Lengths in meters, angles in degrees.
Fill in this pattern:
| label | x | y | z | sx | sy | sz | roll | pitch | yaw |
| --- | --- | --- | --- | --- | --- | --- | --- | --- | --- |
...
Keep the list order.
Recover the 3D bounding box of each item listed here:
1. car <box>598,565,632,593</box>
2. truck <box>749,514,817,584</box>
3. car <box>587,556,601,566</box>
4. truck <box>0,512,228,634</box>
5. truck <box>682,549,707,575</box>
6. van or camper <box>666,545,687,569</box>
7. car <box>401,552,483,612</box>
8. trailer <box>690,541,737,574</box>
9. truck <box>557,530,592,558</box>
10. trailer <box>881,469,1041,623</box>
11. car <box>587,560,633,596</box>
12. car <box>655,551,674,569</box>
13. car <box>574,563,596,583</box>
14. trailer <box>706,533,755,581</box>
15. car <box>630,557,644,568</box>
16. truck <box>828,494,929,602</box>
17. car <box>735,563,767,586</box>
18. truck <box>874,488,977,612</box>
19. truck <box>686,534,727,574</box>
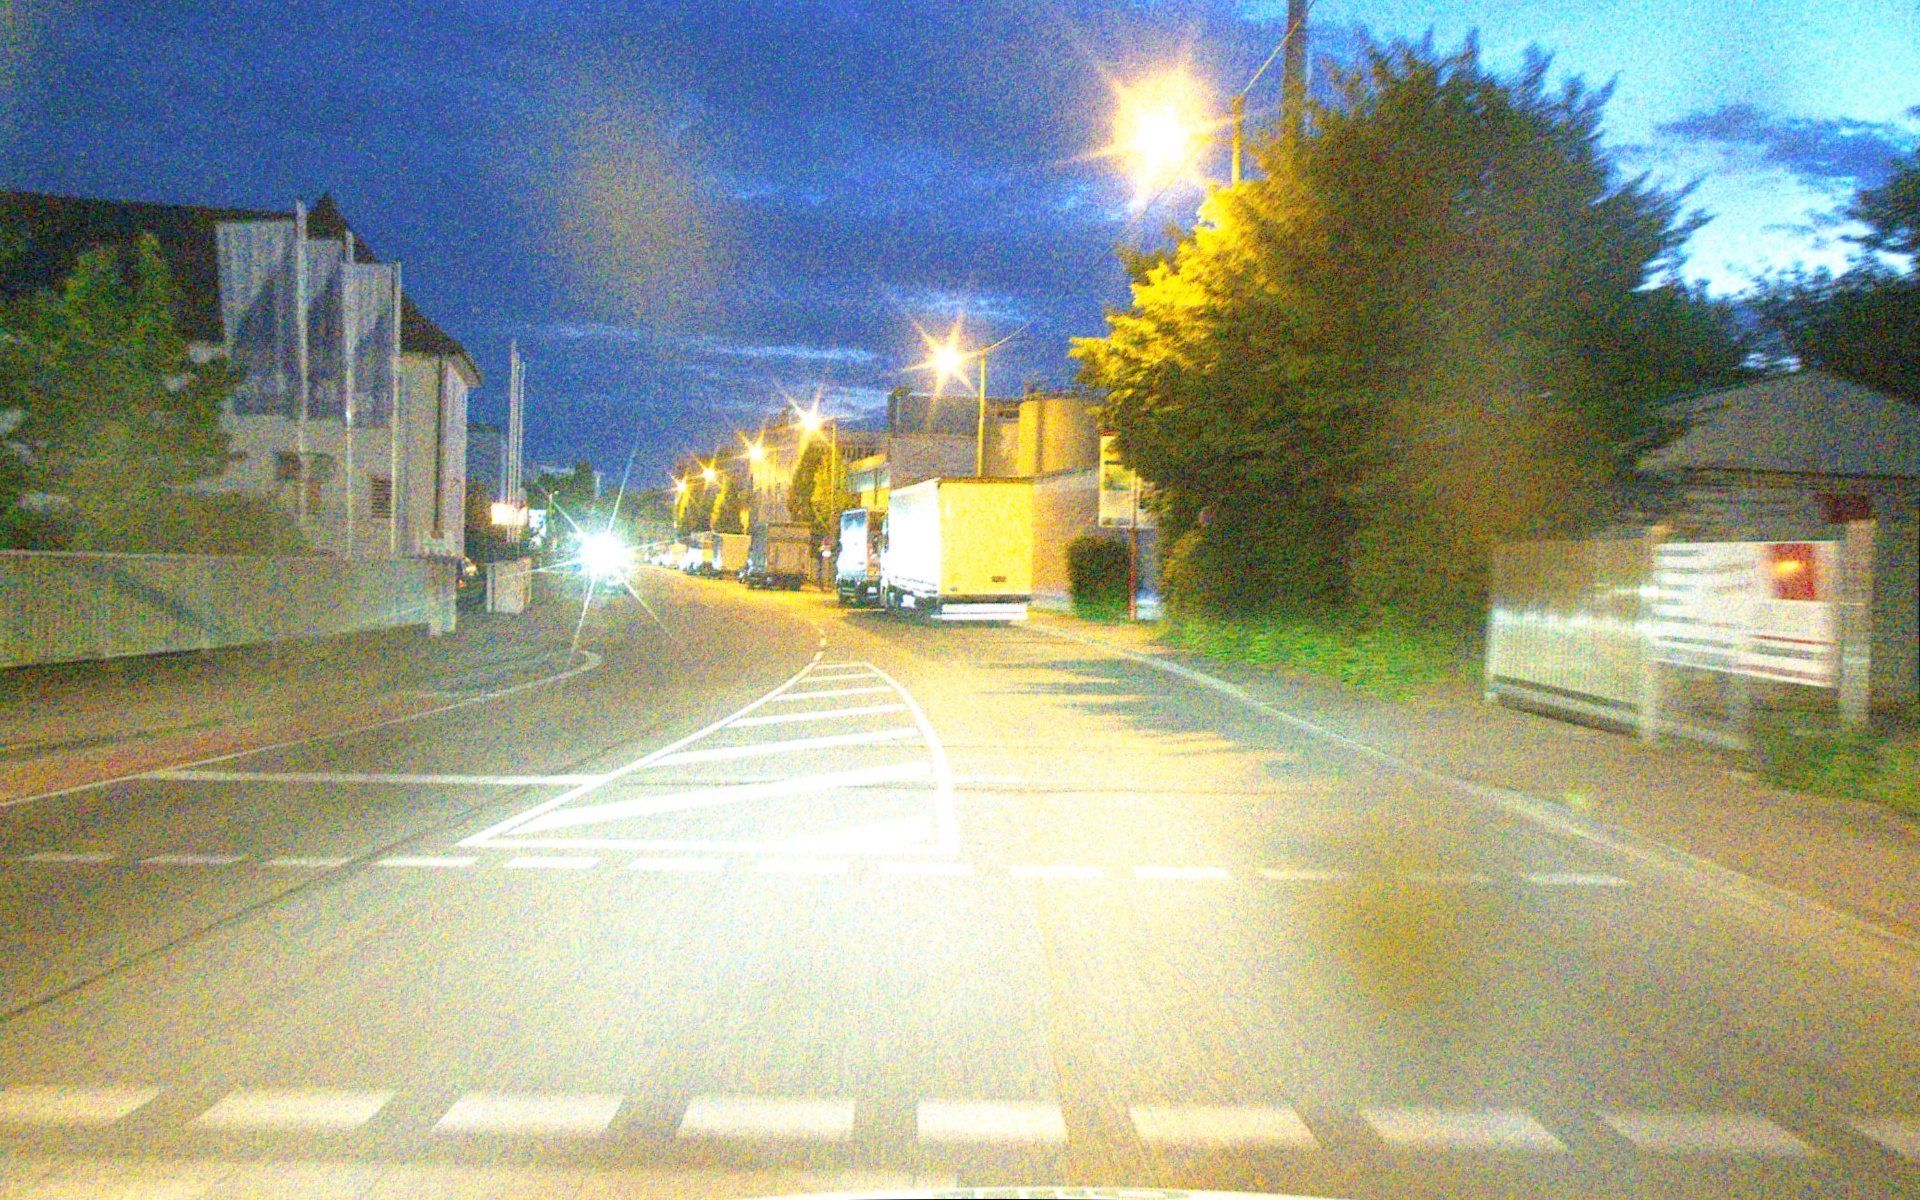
| label | x | y | z | sx | sy | sz | roll | pitch | yaw |
| --- | --- | --- | --- | --- | --- | --- | --- | --- | --- |
| car | -17.979 | -1.099 | 86.038 | 1.575 | 1.377 | 3.986 | 1 | 1 | -14 |
| truck | -10.848 | -3.031 | 100.499 | 3.456 | 4.052 | 10.320 | 0 | 1 | -10 |
| car | -54.551 | -5.810 | 246.620 | 1.959 | 1.422 | 3.987 | 1 | 1 | -13 |
| truck | -15.170 | -0.476 | 29.511 | 1.953 | 1.933 | 5.315 | 2 | 1 | -2 |
| truck | -26.095 | -3.739 | 162.571 | 1.959 | 2.449 | 5.275 | 1 | 1 | -13 |
| van or camper | -31.470 | -4.803 | 183.539 | 1.959 | 2.626 | 4.899 | 1 | 1 | -13 |
| car | -14.396 | -0.535 | 45.857 | 1.802 | 1.520 | 4.498 | 1 | 1 | -22 |
| trailer | -21.511 | -3.645 | 143.879 | 3.130 | 2.796 | 10.679 | 0 | 1 | -13 |
| truck | -53.446 | -7.738 | 229.236 | 3.831 | 3.684 | 8.217 | 1 | 1 | -19 |
| trailer | -0.288 | -1.566 | 50.748 | 2.757 | 4.052 | 13.946 | 0 | 1 | -9 |
| car | -17.057 | -1.095 | 80.459 | 1.960 | 1.665 | 4.756 | 1 | 1 | -15 |
| car | -36.328 | -4.920 | 203.283 | 1.959 | 2.183 | 3.987 | 1 | 1 | -13 |
| car | -35.143 | -2.532 | 154.779 | 1.959 | 1.825 | 3.987 | 1 | 1 | -13 |
| trailer | -17.788 | -3.281 | 128.036 | 2.643 | 3.524 | 7.776 | 1 | 1 | -16 |
| car | -49.197 | -5.732 | 251.795 | 1.959 | 1.713 | 3.987 | 1 | 1 | -13 |
| truck | -3.467 | -2.060 | 67.737 | 2.779 | 4.052 | 10.316 | 0 | 1 | -11 |
| car | -14.601 | -1.784 | 115.527 | 1.821 | 1.545 | 3.806 | 0 | 1 | -13 |
| truck | -1.272 | -1.700 | 57.200 | 2.778 | 4.052 | 6.038 | 0 | 1 | -9 |
| truck | -23.155 | -4.151 | 150.797 | 3.097 | 3.523 | 6.650 | 0 | 1 | -13 |
